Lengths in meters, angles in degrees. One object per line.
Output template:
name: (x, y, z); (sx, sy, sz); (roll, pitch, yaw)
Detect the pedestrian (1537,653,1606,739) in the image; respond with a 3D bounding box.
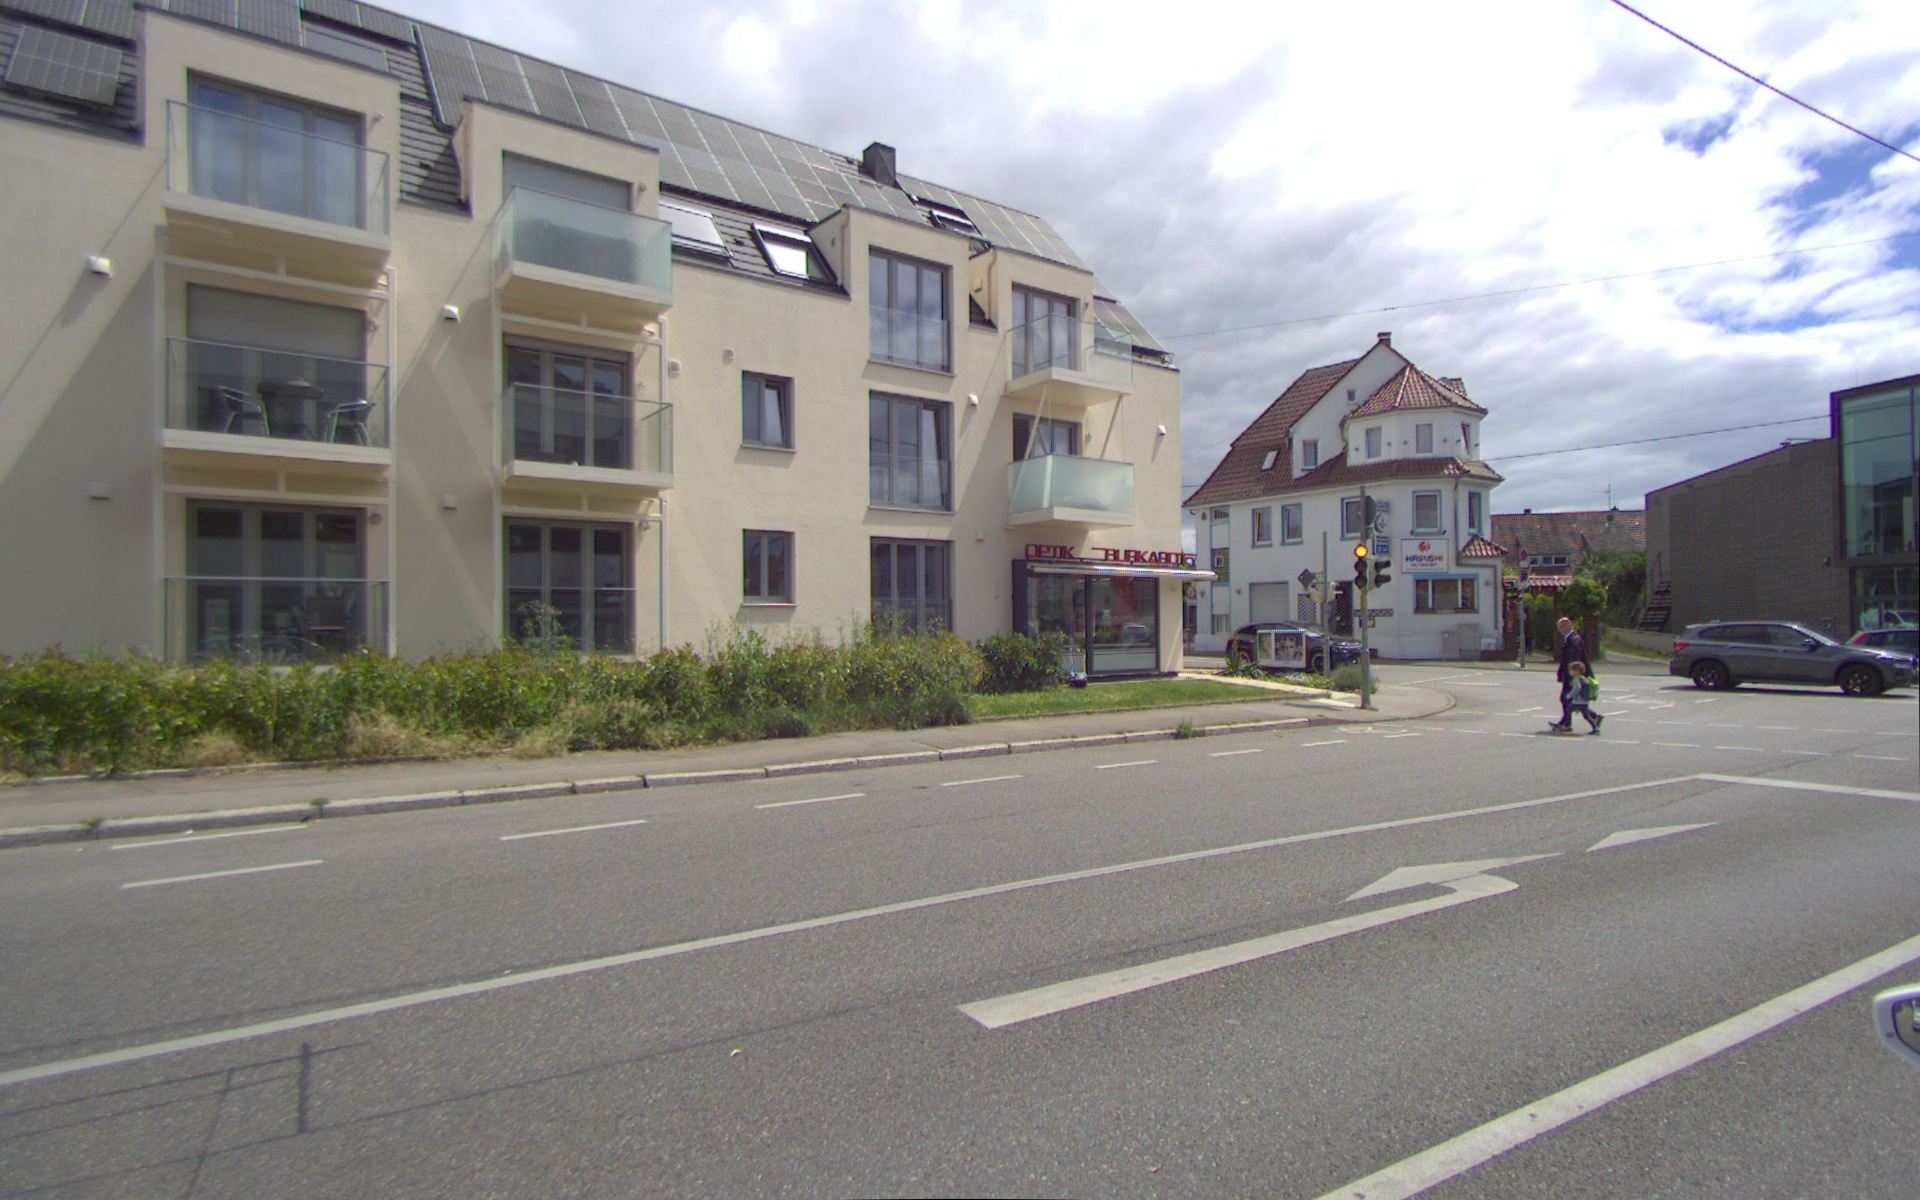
pedestrian: (9.268, 1.436, 15.229); (0.641, 1.238, 0.727); (1, -1, -41)

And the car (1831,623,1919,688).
car: (23.900, 1.377, 24.428); (3.936, 1.506, 1.992); (1, 0, 37)

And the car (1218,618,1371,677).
car: (10.993, 1.524, 33.241); (1.982, 1.766, 4.466); (-1, -1, -38)

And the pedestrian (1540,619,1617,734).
pedestrian: (9.740, 1.172, 15.830); (0.810, 1.744, 0.816); (1, -1, -38)

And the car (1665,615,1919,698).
car: (18.934, 1.215, 22.994); (1.984, 1.697, 4.256); (1, -1, -40)
